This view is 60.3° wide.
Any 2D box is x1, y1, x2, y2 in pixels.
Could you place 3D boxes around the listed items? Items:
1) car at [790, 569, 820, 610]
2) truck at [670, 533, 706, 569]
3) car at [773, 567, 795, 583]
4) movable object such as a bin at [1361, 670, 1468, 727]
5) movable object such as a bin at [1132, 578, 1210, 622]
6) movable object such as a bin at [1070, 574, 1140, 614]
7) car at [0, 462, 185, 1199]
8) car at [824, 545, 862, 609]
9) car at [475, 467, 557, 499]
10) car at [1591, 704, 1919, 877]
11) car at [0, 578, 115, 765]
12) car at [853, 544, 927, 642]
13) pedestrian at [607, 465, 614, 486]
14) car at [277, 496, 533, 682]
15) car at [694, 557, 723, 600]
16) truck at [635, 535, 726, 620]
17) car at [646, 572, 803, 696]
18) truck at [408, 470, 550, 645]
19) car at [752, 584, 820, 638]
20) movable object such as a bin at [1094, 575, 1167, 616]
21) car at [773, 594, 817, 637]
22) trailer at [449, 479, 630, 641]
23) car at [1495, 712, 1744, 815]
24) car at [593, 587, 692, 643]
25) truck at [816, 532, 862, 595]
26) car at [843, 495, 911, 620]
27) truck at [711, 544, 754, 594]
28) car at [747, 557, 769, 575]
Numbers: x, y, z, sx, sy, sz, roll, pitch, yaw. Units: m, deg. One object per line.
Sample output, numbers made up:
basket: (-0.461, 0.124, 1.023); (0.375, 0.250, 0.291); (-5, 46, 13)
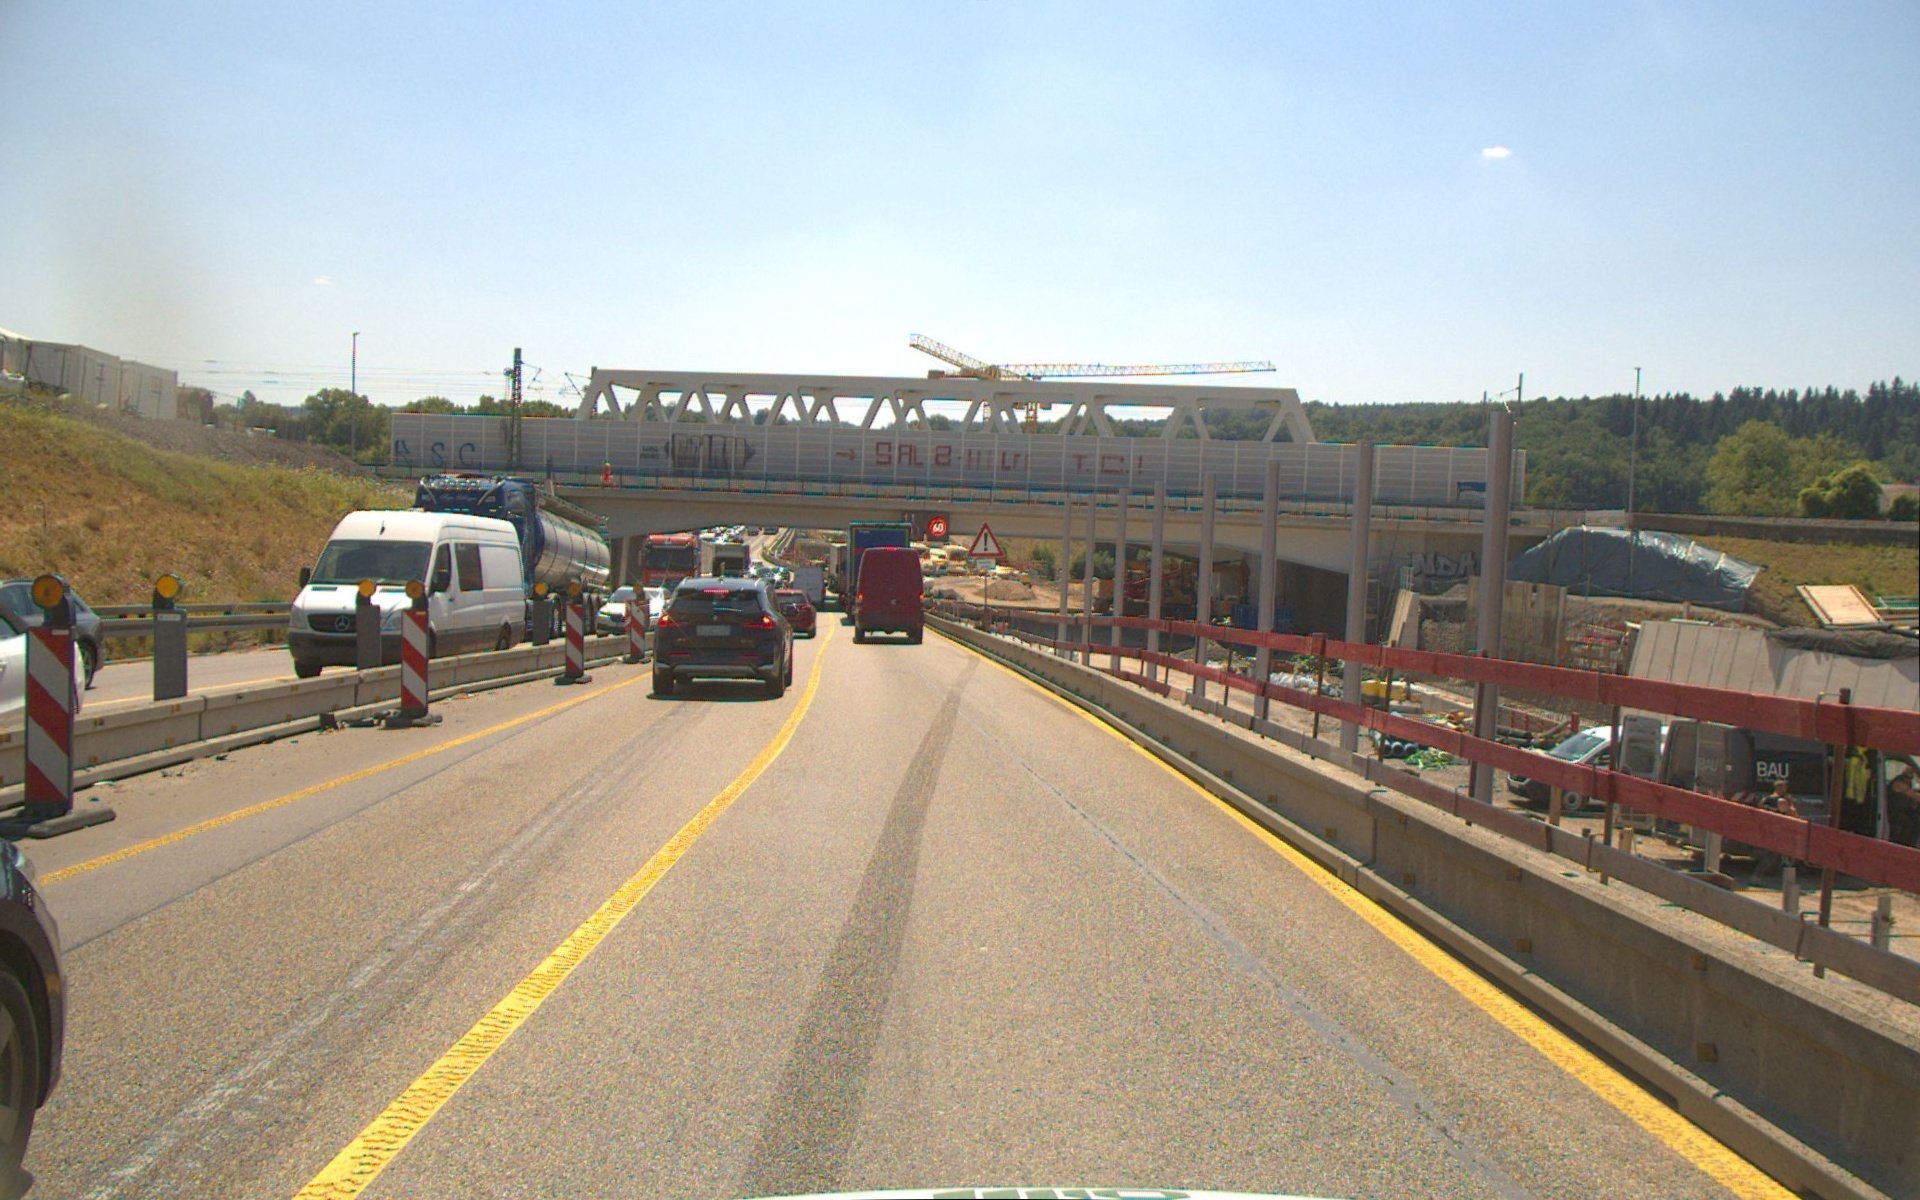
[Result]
car: (-9.553, -0.677, 101.996); (1.741, 2.483, 4.202); (0, 1, -5)
truck: (-31.391, -5.591, 190.594); (2.788, 3.919, 12.859); (1, 1, -15)
car: (-18.933, -2.665, 177.948); (1.846, 1.685, 3.986); (1, 1, -14)
movable object such as a bin: (14.706, 3.160, 53.524); (3.040, 1.590, 1.550); (2, 1, 31)
movable object such as a bin: (14.390, 0.002, 113.011); (5.040, 2.856, 2.143); (1, 0, 0)
movable object such as a bin: (10.863, -0.435, 124.354); (5.040, 2.856, 2.143); (1, 0, 0)
car: (-2.930, 0.599, 2.192); (1.740, 1.748, 4.651); (1, 2, -2)
car: (-8.037, -1.585, 113.002); (2.402, 4.233, 6.853); (0, 1, -5)
car: (-27.661, -7.296, 103.090); (4.456, 1.814, 1.962); (1, 1, 8)
car: (14.773, 3.387, 29.725); (5.986, 2.629, 2.521); (2, 2, -15)
car: (-8.560, 0.573, 12.900); (1.765, 1.472, 4.634); (1, 1, -3)
car: (-2.117, -0.235, 48.765); (1.950, 2.737, 4.619); (0, 1, -5)
pedestrian: (-21.323, -7.590, 100.908); (0.329, 1.232, 0.308); (1, 0, 8)
car: (-8.956, -0.205, 27.510); (1.953, 2.652, 7.009); (1, 1, -1)
car: (-16.332, -1.415, 107.520); (1.549, 2.700, 5.385); (1, 1, -6)
truck: (-13.983, -1.156, 83.751); (2.778, 3.919, 12.907); (1, 1, -2)
car: (-3.336, 0.419, 24.206); (1.842, 1.646, 4.497); (0, 1, -3)
truck: (-11.857, -1.018, 41.070); (2.309, 4.085, 4.000); (1, 1, 0)
car: (-5.310, 0.308, 50.860); (1.740, 1.543, 4.205); (0, 1, -2)
movable object such as a bin: (12.357, -0.350, 119.957); (5.040, 2.856, 2.143); (1, 0, 0)
car: (-7.011, 0.637, 70.261); (1.804, 1.683, 4.160); (0, 1, -6)
trailer: (-11.879, -1.097, 47.951); (2.299, 4.085, 11.449); (1, 1, 0)
car: (14.540, 3.592, 36.616); (4.634, 1.804, 1.999); (3, 2, -4)
car: (-8.703, 0.366, 45.644); (1.780, 1.408, 4.584); (1, 1, 1)
truck: (-11.243, -3.320, 152.791); (2.783, 5.492, 12.881); (1, 1, -10)
car: (-3.798, -1.825, 73.478); (2.570, 5.120, 10.386); (0, 1, -5)
truck: (-18.701, -2.515, 136.759); (2.779, 3.919, 12.899); (1, 1, -5)
car: (-23.617, -3.967, 193.196); (1.960, 2.049, 3.984); (1, 1, -15)
